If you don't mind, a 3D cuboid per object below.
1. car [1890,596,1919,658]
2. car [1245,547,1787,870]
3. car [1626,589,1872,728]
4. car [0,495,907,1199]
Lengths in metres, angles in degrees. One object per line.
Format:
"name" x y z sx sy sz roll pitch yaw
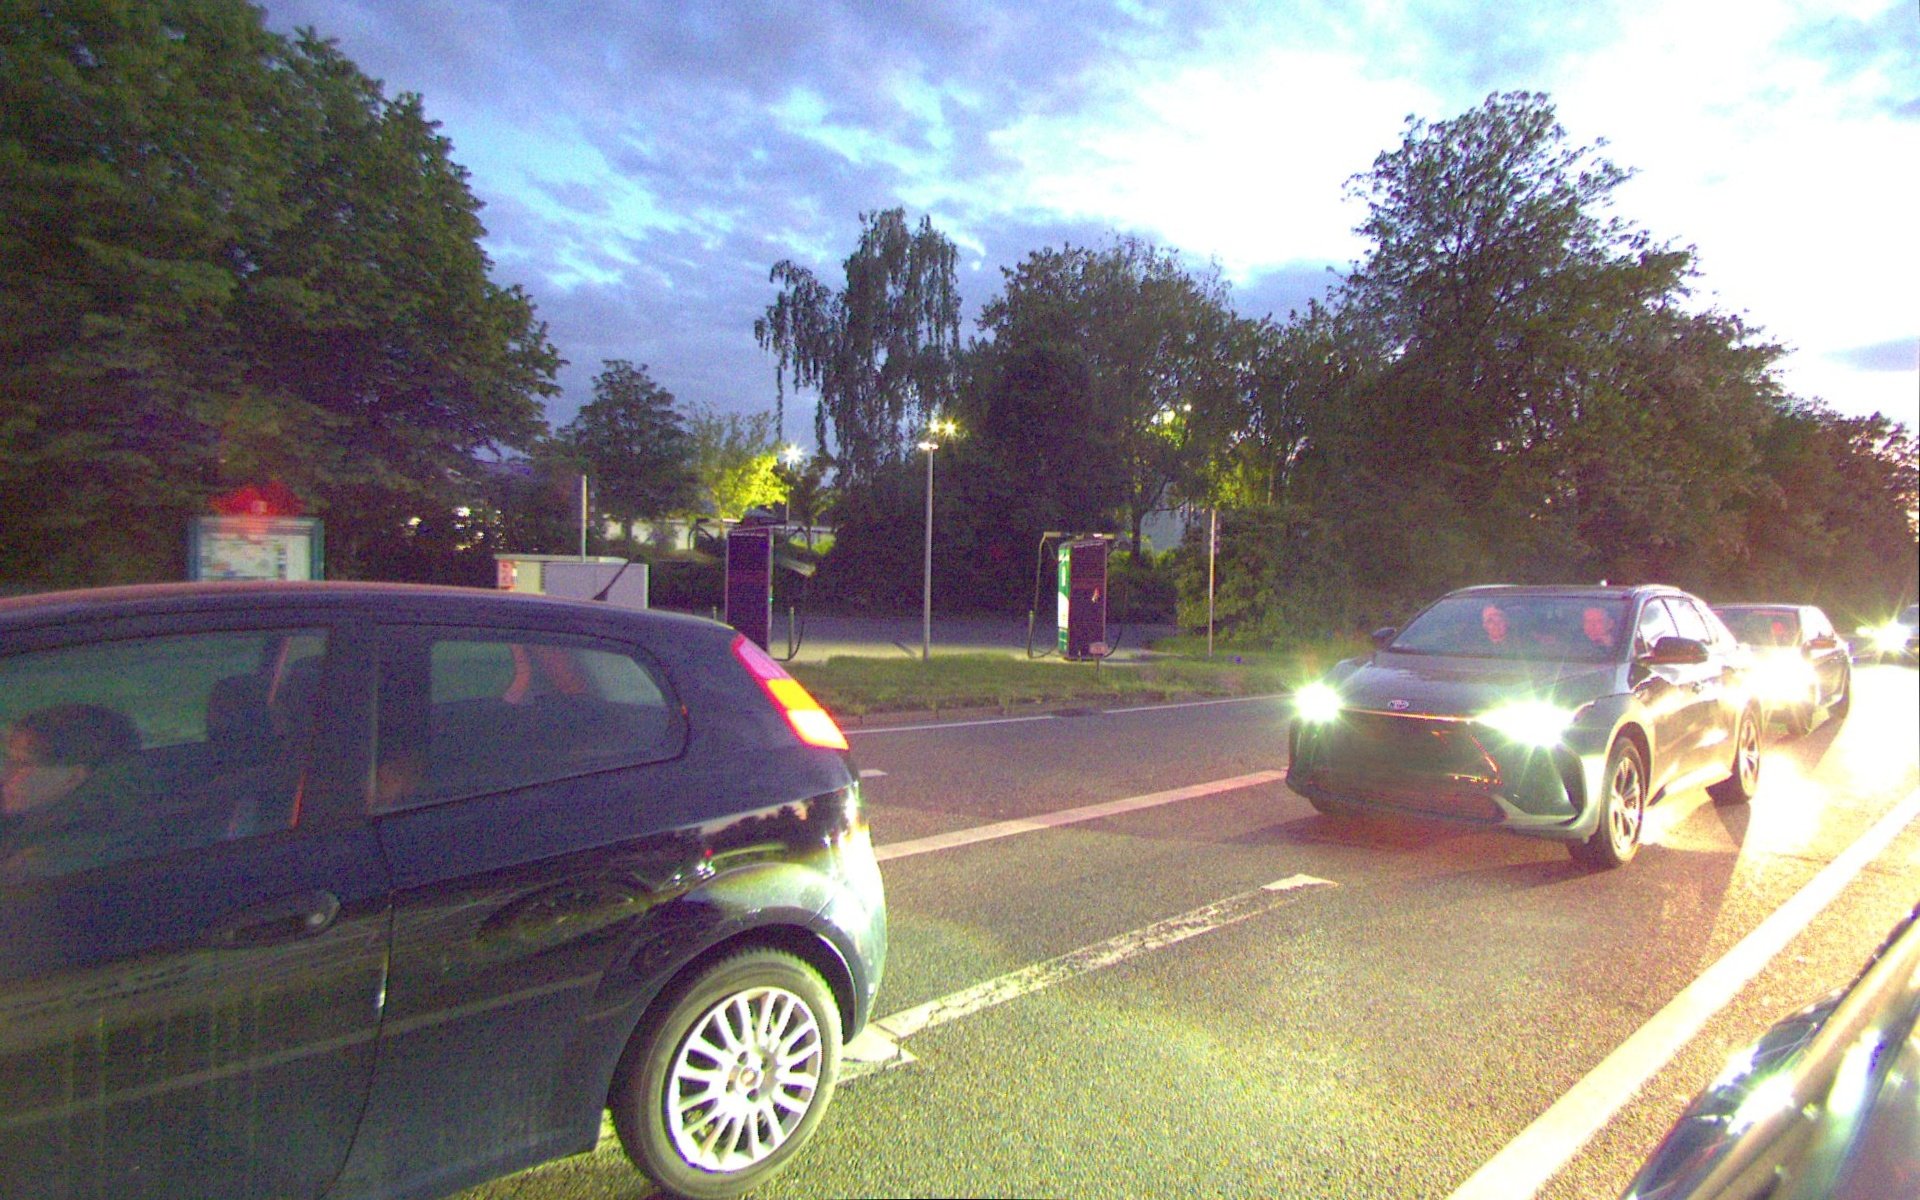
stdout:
"car" 23.970 0.625 24.414 3.930 1.385 1.817 -1 1 -41
"car" 4.035 0.559 7.051 4.223 1.577 1.901 1 -1 -40
"car" 9.740 0.628 12.404 3.688 1.431 1.621 1 1 -40
"car" -2.063 0.603 2.183 3.649 1.556 1.662 -1 1 -40
